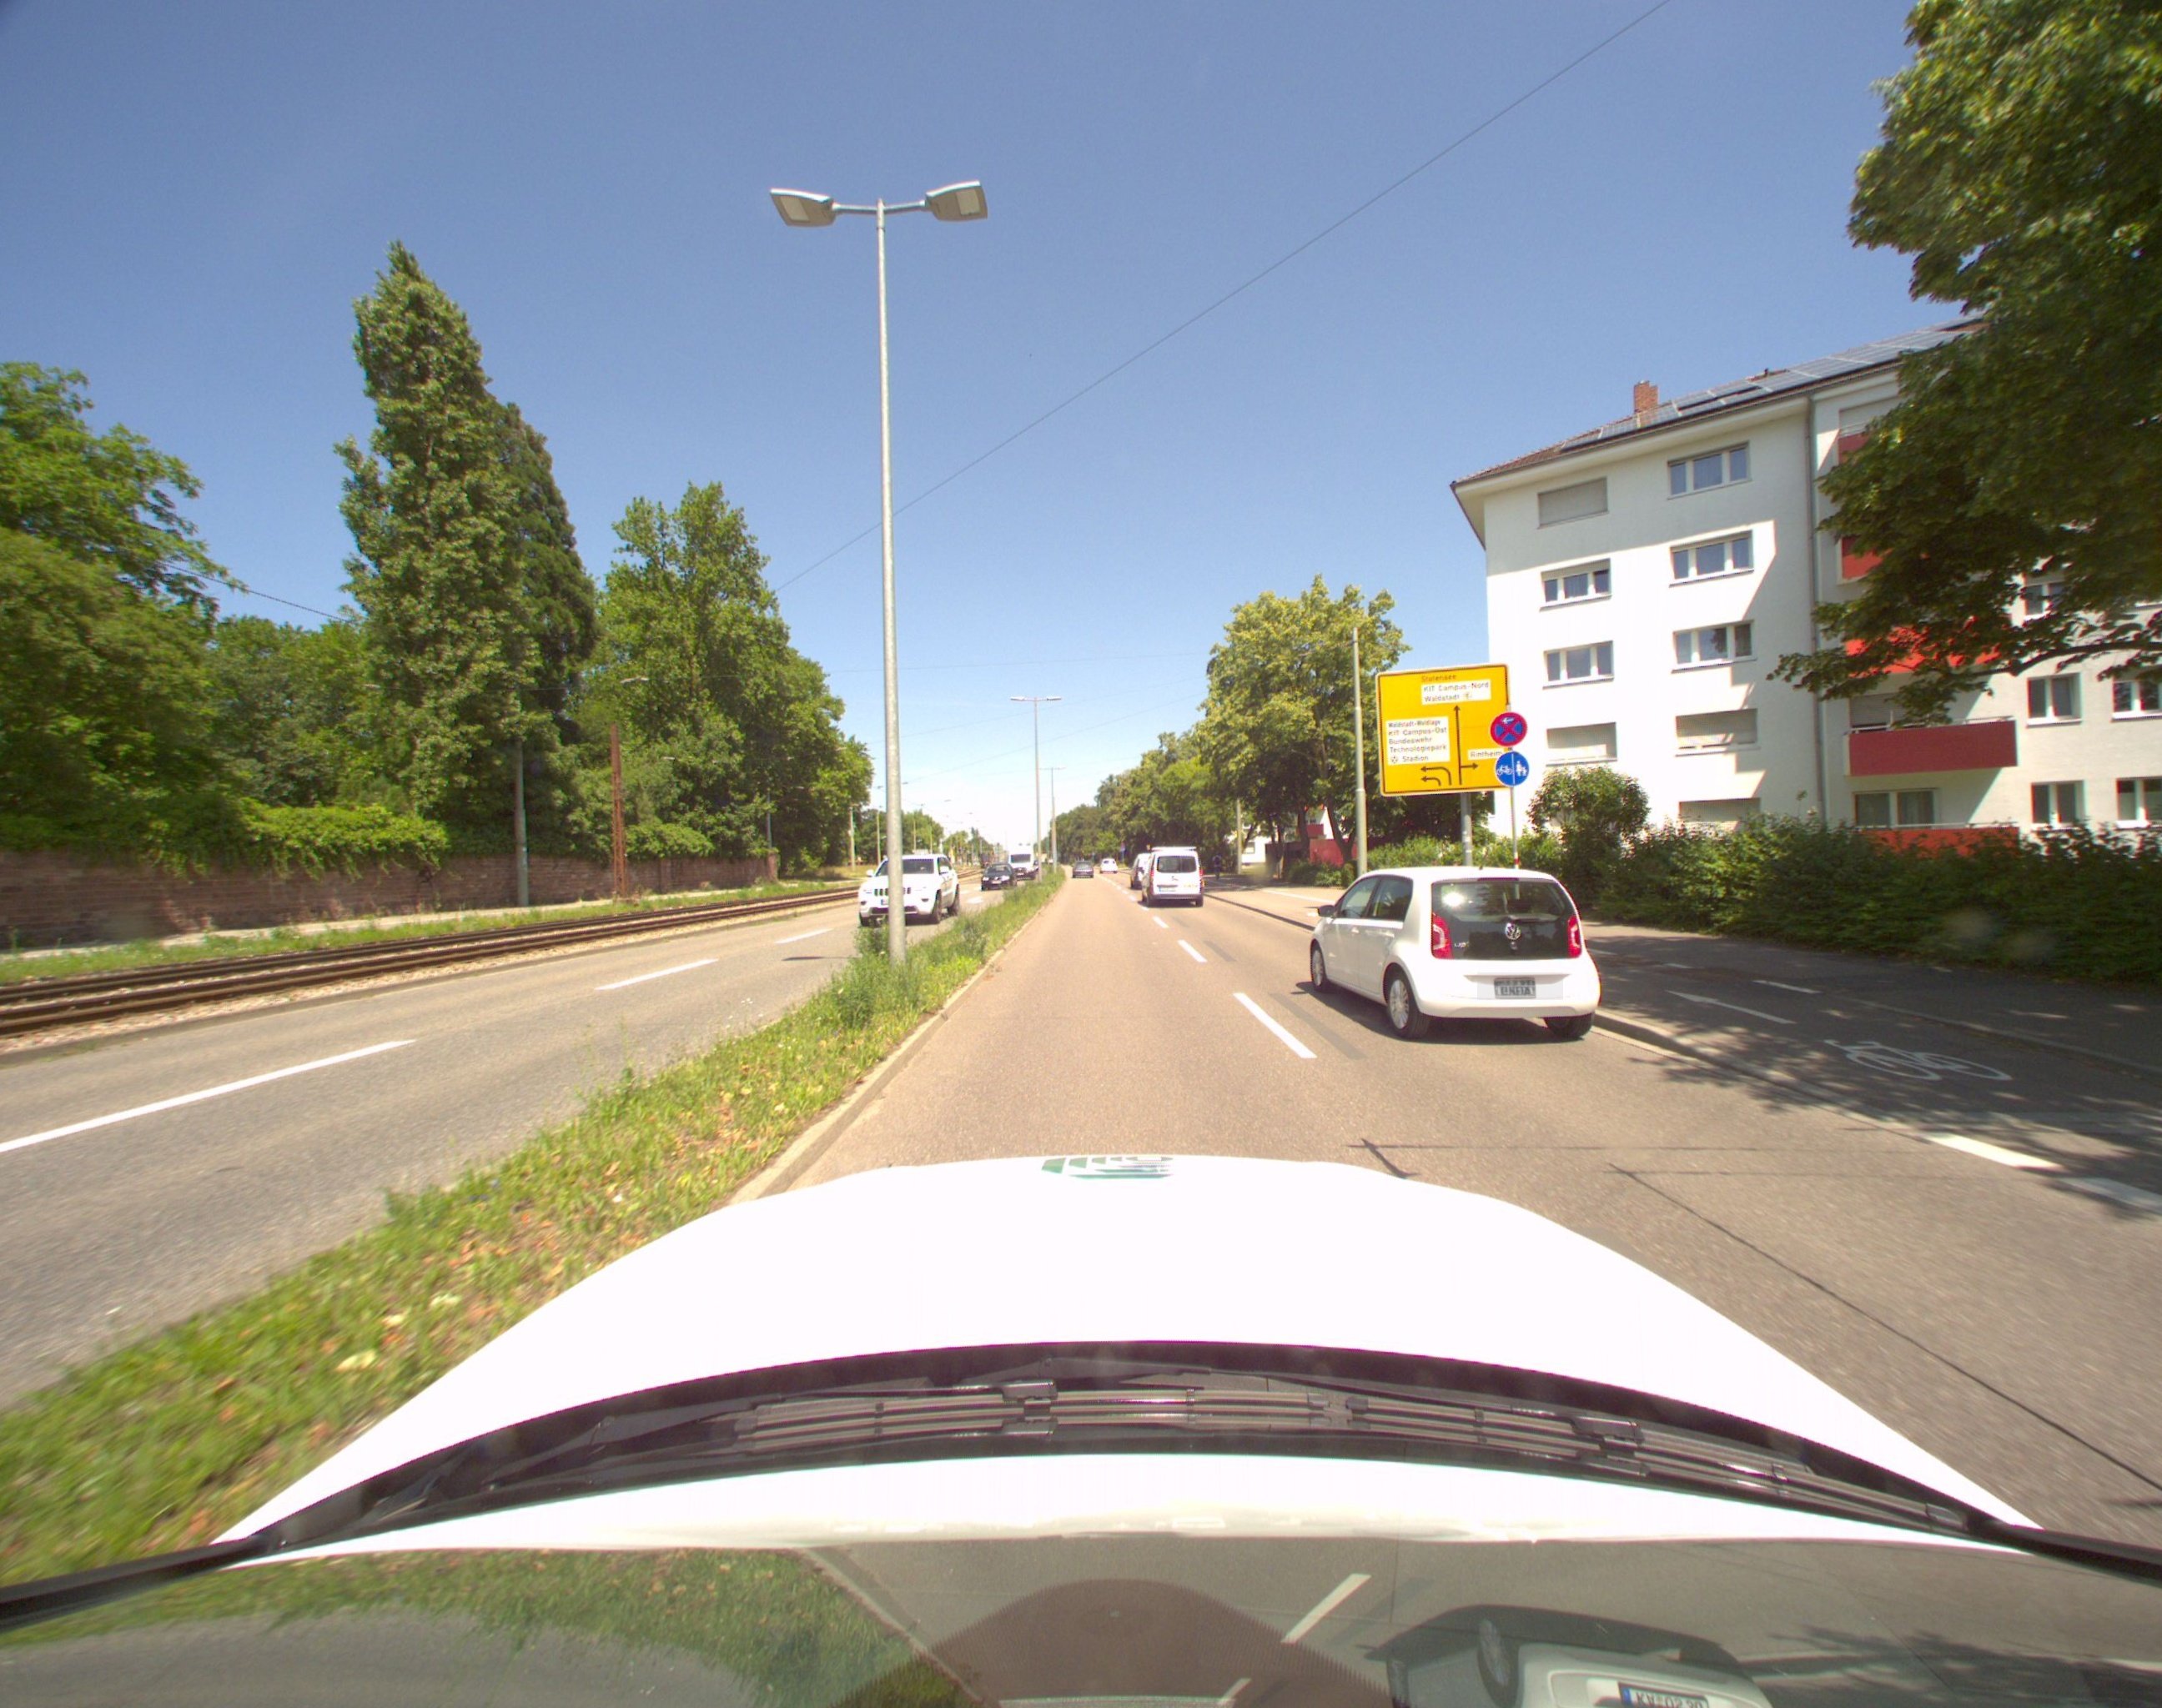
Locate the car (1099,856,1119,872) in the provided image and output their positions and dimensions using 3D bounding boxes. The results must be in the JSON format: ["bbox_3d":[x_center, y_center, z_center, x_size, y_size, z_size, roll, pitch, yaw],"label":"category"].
[{"bbox_3d":[2.969,1.017,85.927,1.798,1.540,3.997,3,-1,-2],"label":"car"}]

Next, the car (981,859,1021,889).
[{"bbox_3d":[-4.296,1.052,44.094,1.711,1.458,3.913,-2,0,0],"label":"car"}]

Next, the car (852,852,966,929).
[{"bbox_3d":[-4.393,0.878,21.549,1.893,1.748,4.588,-3,-1,1],"label":"car"}]

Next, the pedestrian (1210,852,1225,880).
[{"bbox_3d":[8.093,0.688,48.225,0.667,1.644,0.856,-1,-1,-1],"label":"pedestrian"}]

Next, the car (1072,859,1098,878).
[{"bbox_3d":[0.268,1.184,67.063,1.799,1.486,3.993,-1,-1,-5],"label":"car"}]

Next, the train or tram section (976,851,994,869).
[{"bbox_3d":[-21.170,1.379,181.089,2.784,3.668,37.444,-1,0,-5],"label":"train or tram section"}]

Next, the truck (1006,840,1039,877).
[{"bbox_3d":[-4.554,0.334,64.323,2.075,2.748,5.545,-3,0,0],"label":"truck"}]

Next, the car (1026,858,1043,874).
[{"bbox_3d":[-5.285,1.329,93.235,1.824,1.756,4.484,-3,0,-2],"label":"car"}]

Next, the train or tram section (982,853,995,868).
[{"bbox_3d":[-24.004,1.667,212.647,2.784,3.668,25.948,-1,-1,-5],"label":"train or tram section"}]

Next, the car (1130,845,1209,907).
[{"bbox_3d":[2.825,0.680,27.027,1.821,1.882,4.448,0,-1,-5],"label":"car"}]

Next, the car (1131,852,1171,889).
[{"bbox_3d":[3.513,0.798,41.380,1.722,1.814,4.001,0,0,1],"label":"car"}]

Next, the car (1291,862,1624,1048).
[{"bbox_3d":[3.507,0.825,8.437,1.654,1.449,3.853,0,0,0],"label":"car"}]
